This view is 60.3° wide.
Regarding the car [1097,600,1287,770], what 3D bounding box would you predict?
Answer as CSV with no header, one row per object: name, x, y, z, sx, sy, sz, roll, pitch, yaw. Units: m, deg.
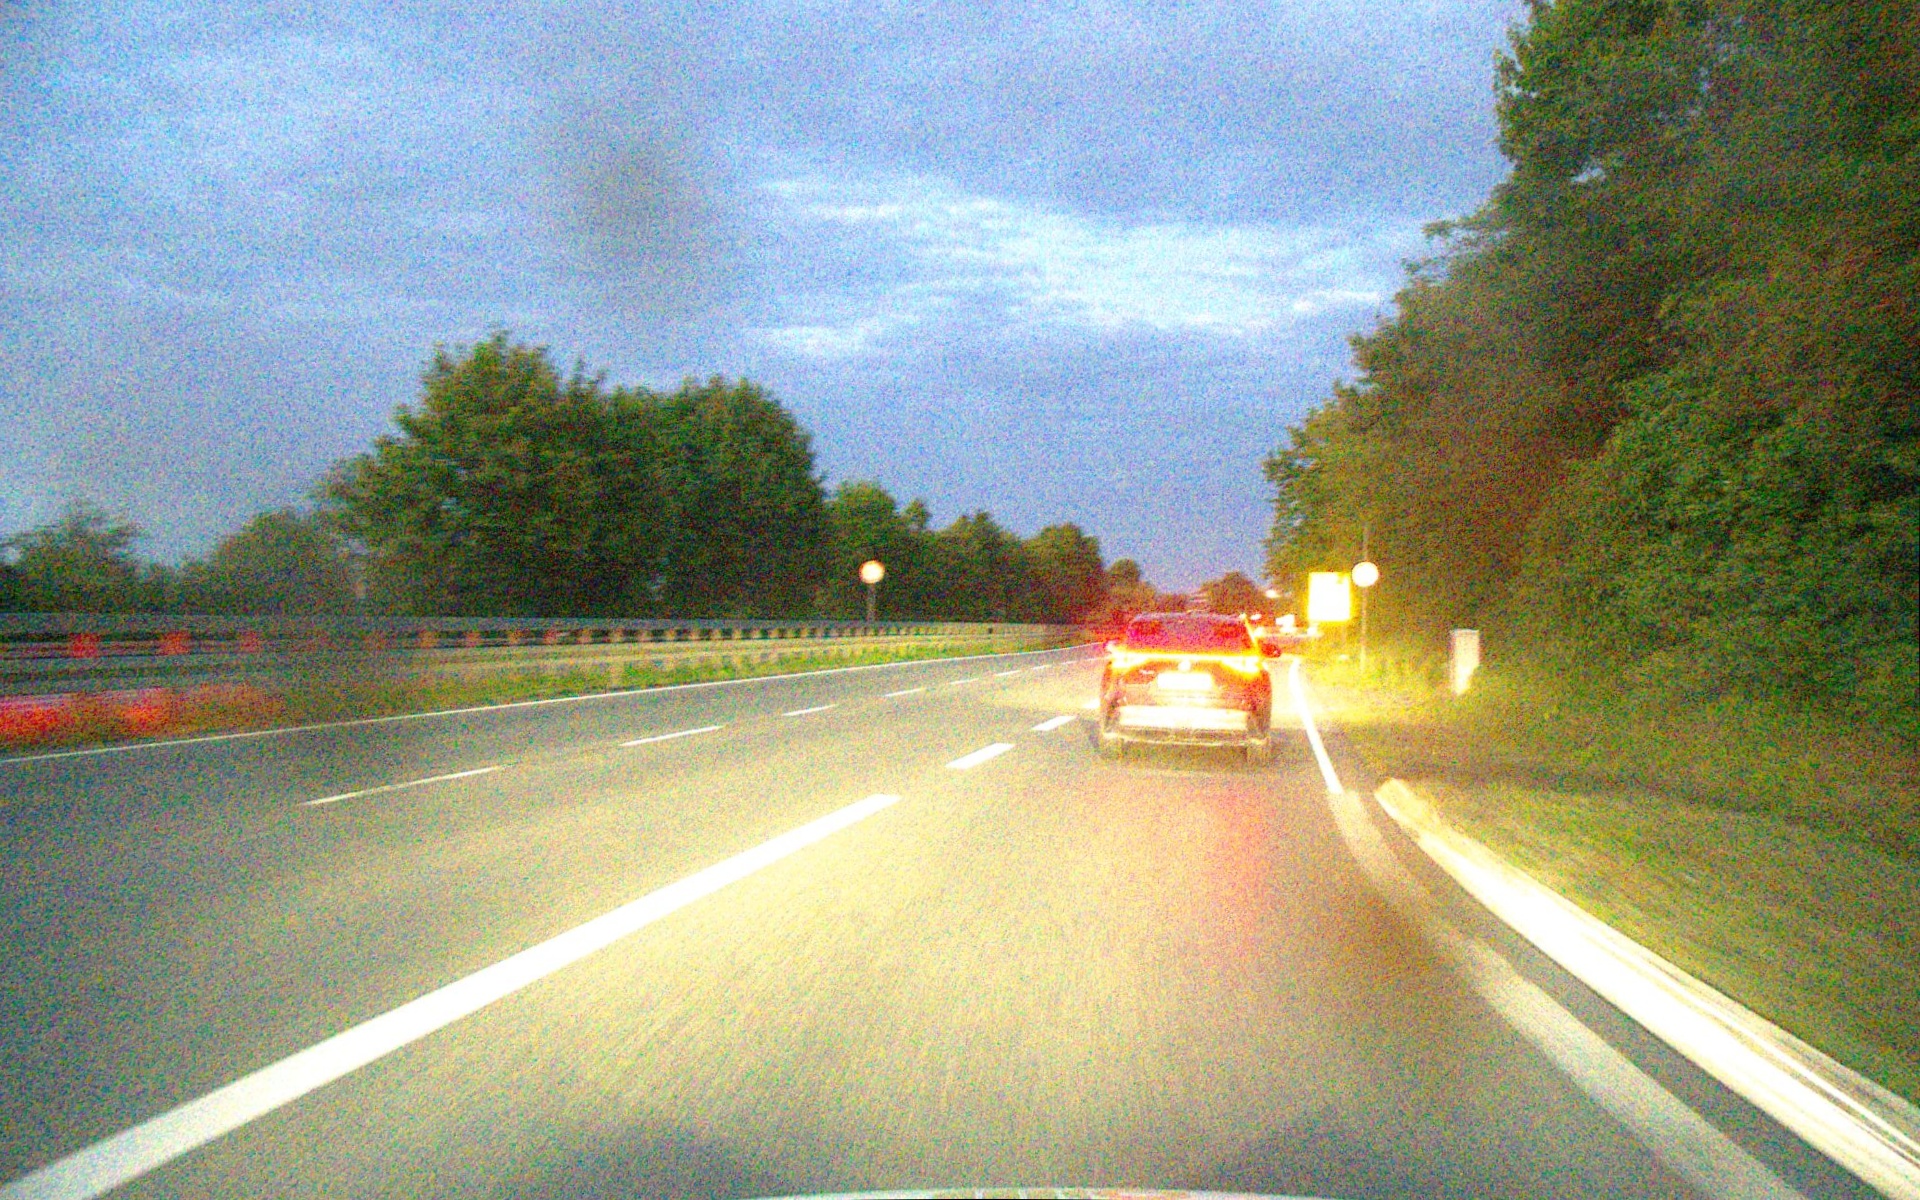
car,2.708,0.878,19.045,1.860,1.648,4.560,2,0,9

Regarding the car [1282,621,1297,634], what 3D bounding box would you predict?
car,48.550,4.076,243.446,1.951,1.780,4.003,-3,-2,13

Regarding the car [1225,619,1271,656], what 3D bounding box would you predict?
car,11.925,1.527,68.301,1.715,1.478,4.436,1,-1,12
